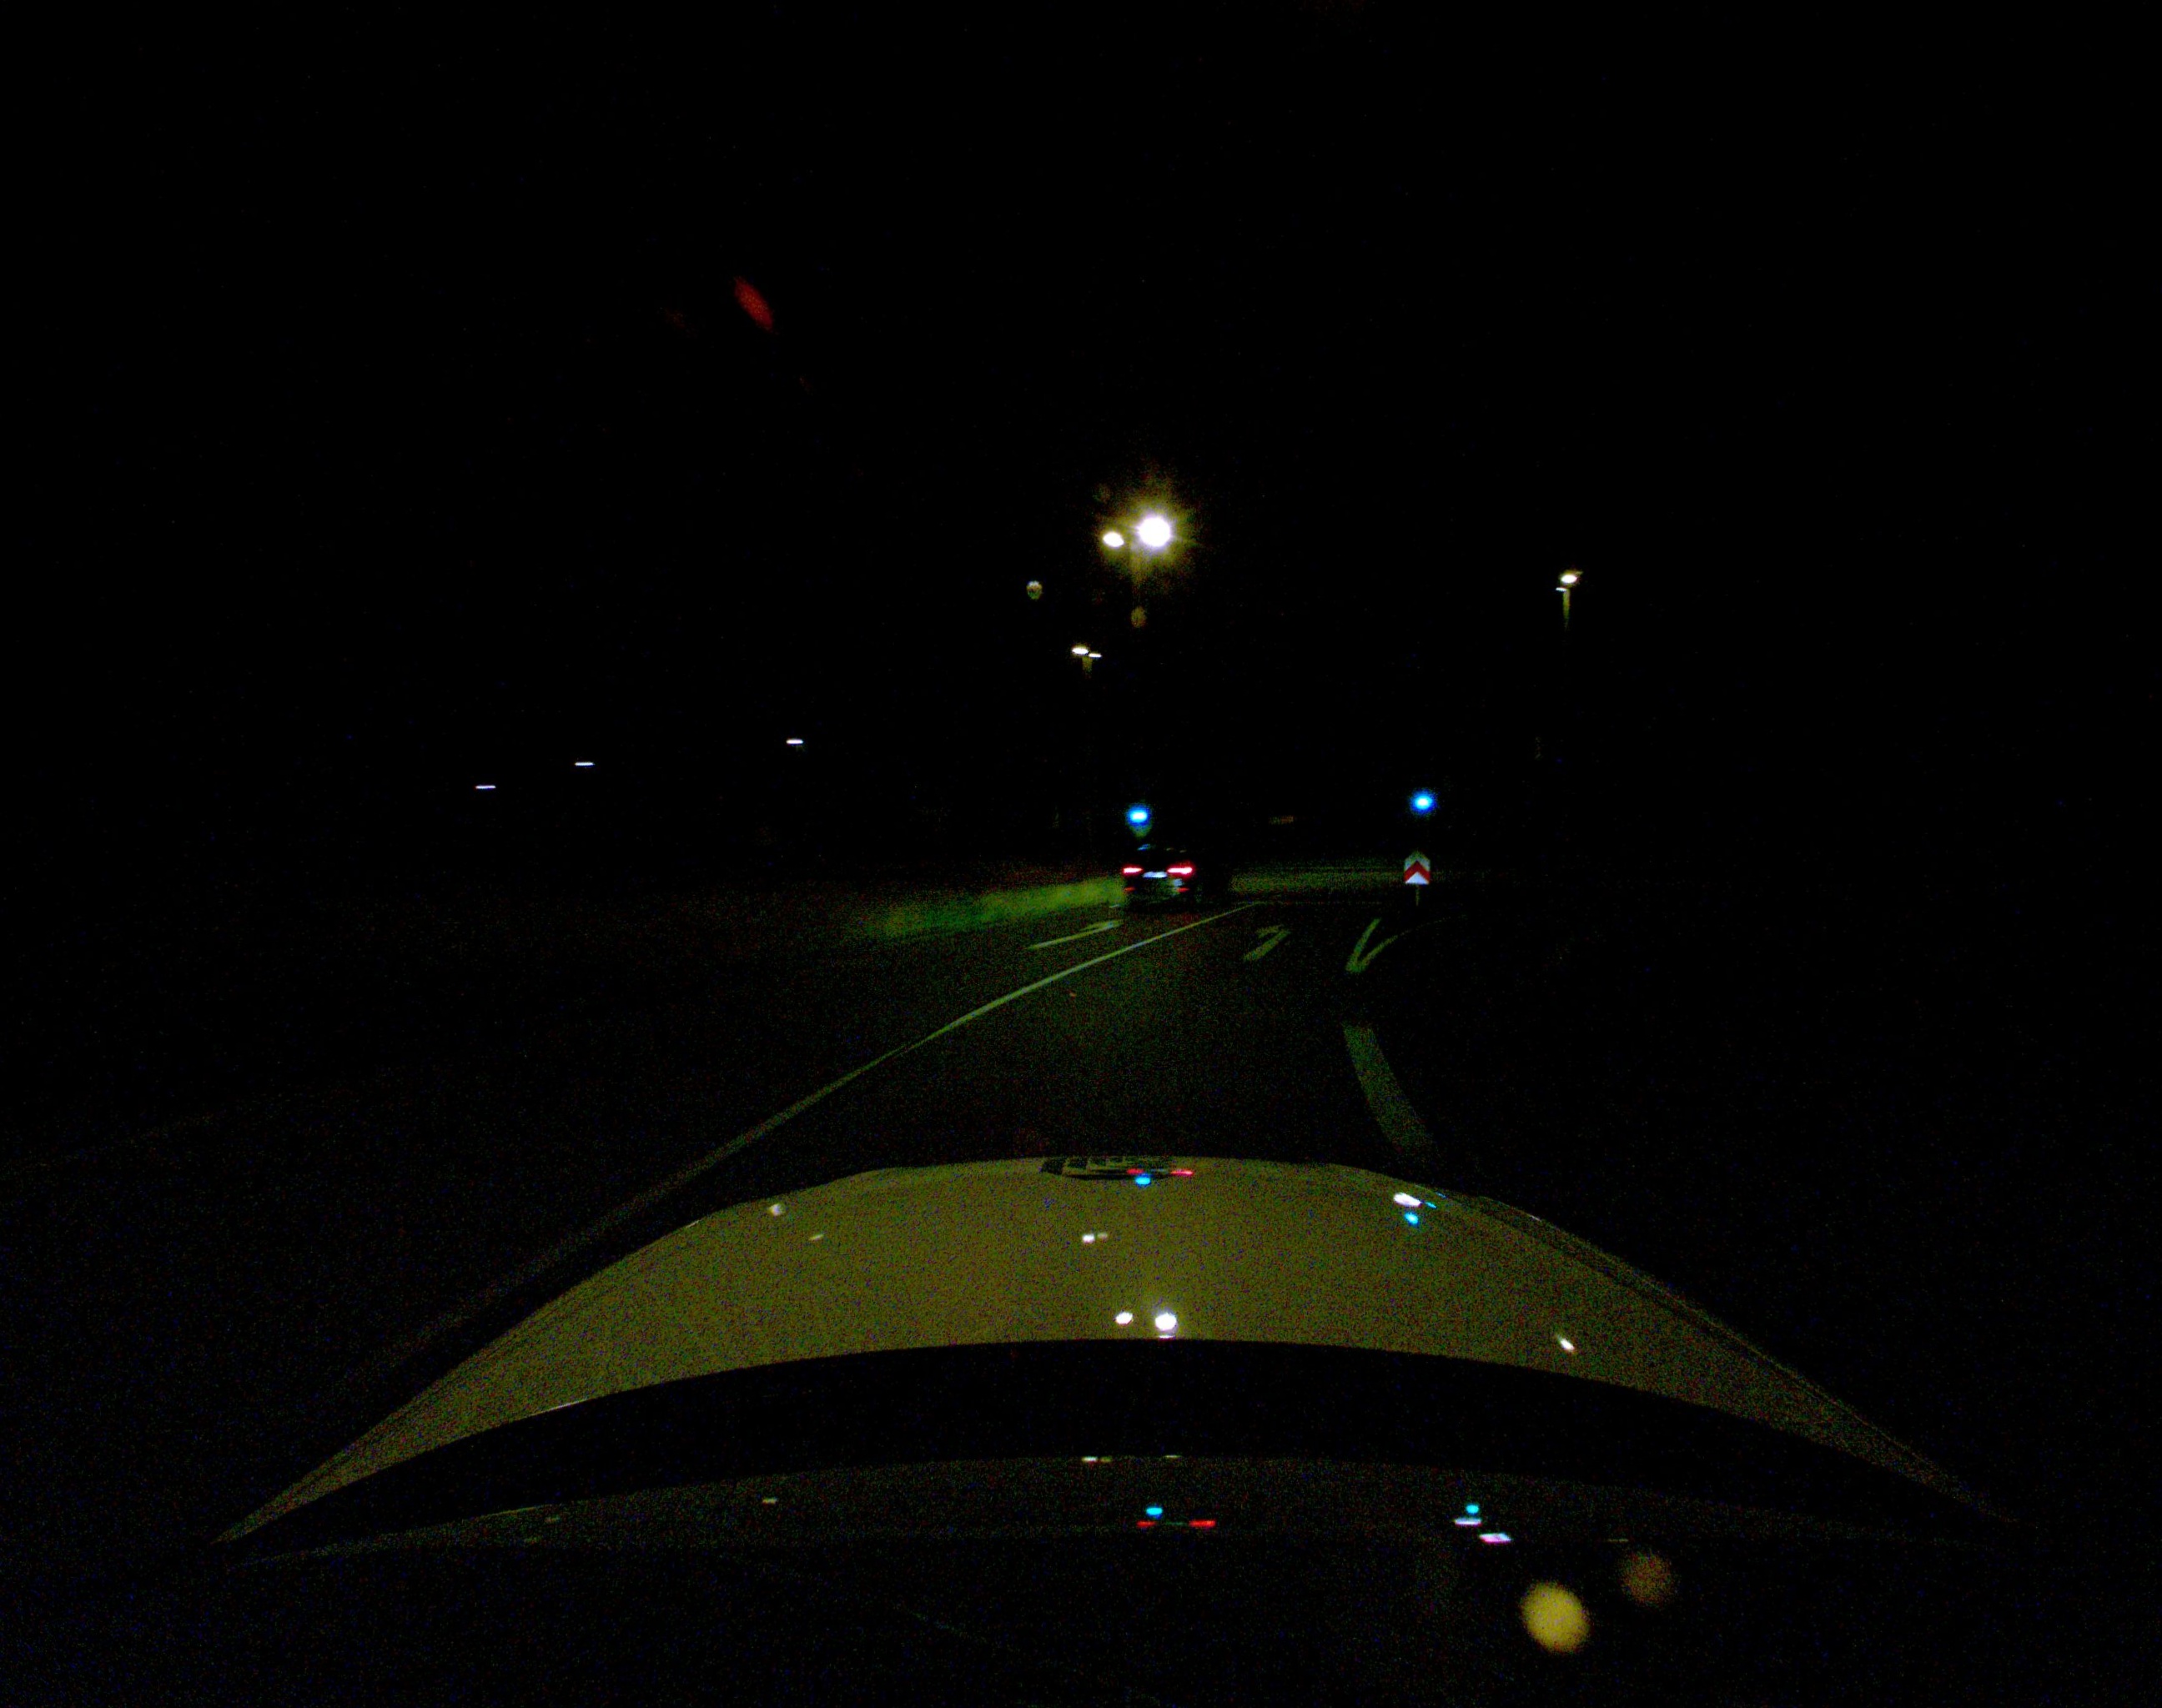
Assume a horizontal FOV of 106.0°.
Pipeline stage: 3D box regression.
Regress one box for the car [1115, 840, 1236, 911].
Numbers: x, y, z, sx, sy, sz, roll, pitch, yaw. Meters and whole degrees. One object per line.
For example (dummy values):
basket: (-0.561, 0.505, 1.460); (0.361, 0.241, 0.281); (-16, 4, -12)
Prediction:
car: (2.514, 0.460, 20.769); (1.835, 1.582, 4.030); (0, 1, 25)
